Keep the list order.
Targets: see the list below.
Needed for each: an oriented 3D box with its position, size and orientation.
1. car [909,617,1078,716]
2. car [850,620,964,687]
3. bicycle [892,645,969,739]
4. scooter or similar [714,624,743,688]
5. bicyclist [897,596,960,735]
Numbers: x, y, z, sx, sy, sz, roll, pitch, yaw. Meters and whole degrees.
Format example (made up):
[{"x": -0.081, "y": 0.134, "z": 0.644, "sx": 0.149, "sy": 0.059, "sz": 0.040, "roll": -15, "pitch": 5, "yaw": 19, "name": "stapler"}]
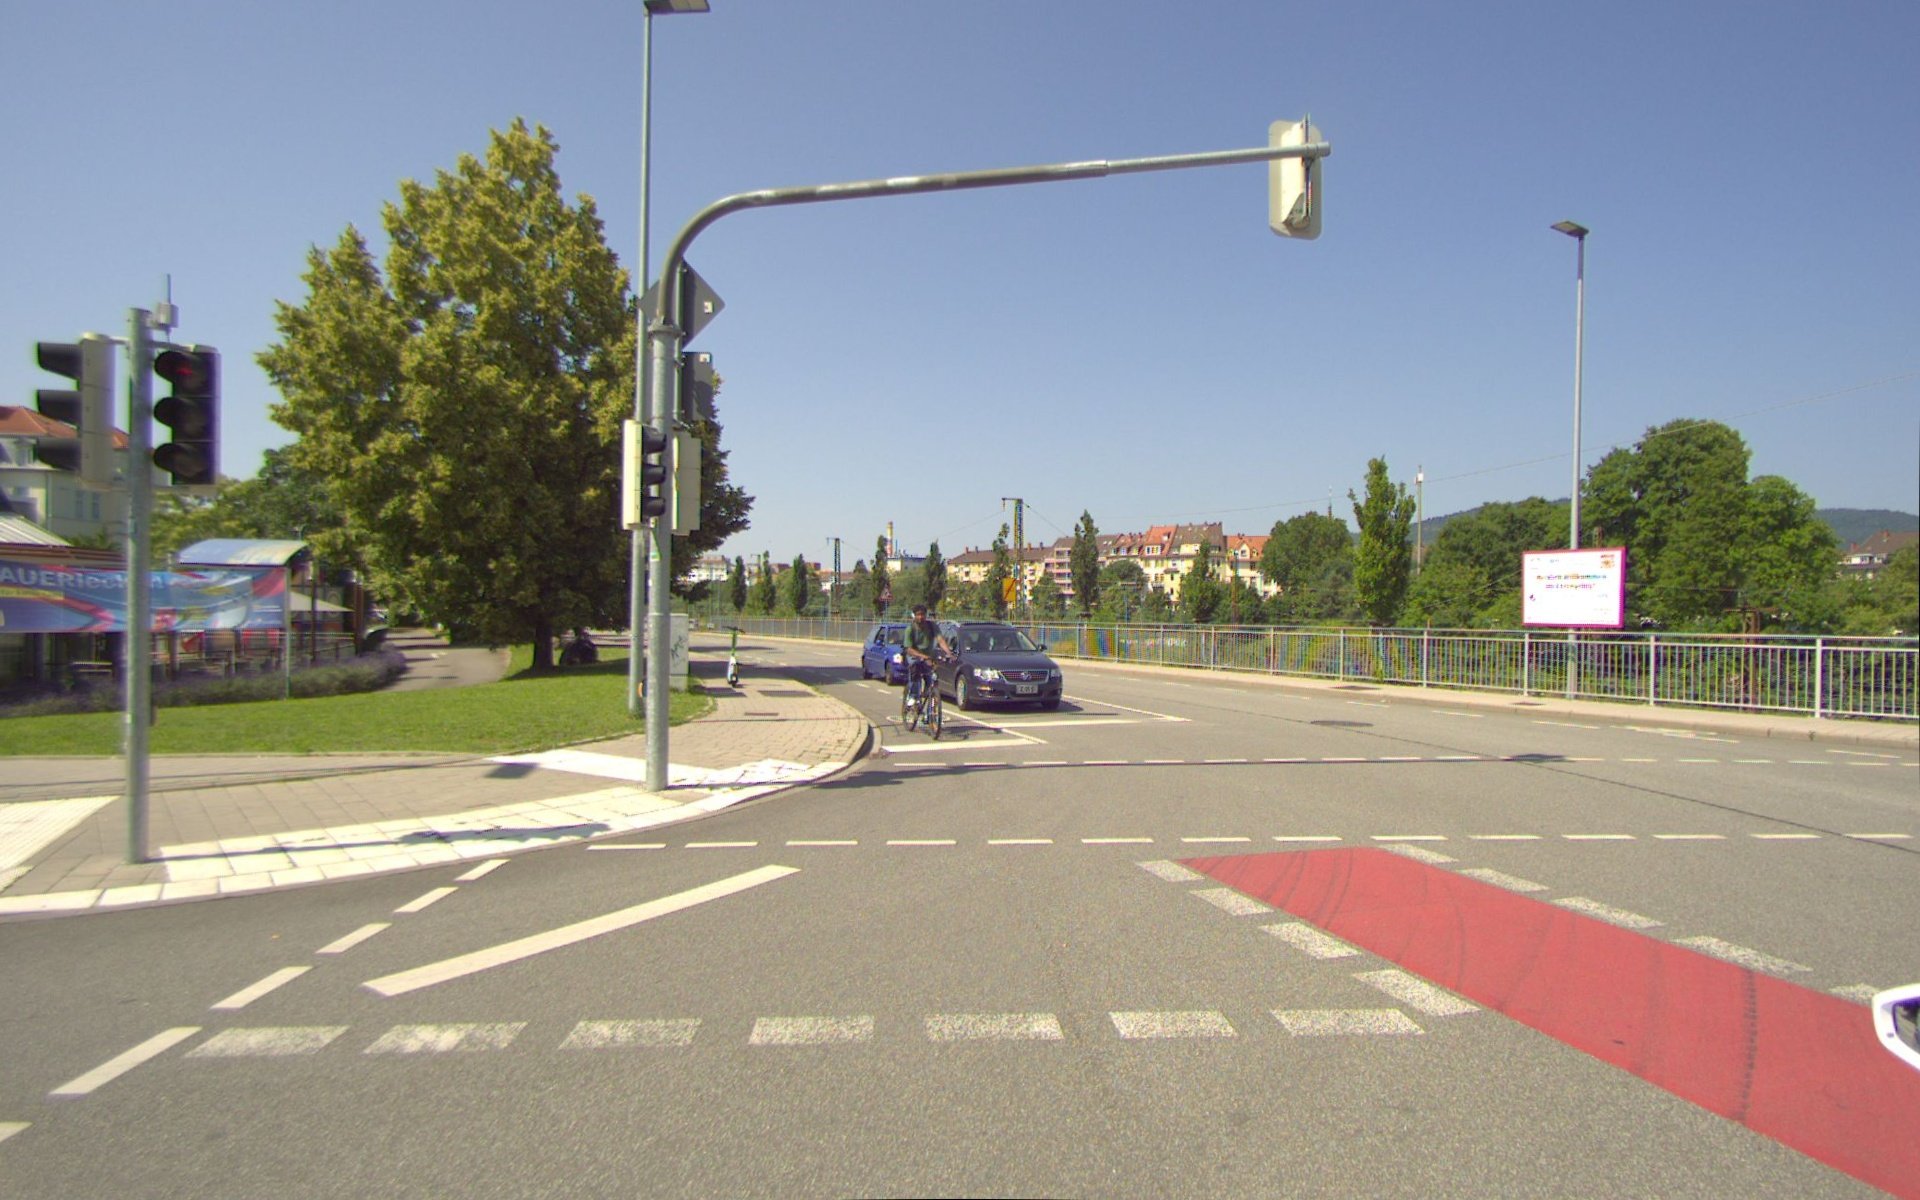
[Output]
[{"x": 0.447, "y": 1.098, "z": 18.511, "sx": 1.756, "sy": 1.516, "sz": 4.706, "roll": 0, "pitch": 0, "yaw": -16, "name": "car"}, {"x": -1.363, "y": 1.208, "z": 24.089, "sx": 1.636, "sy": 1.399, "sz": 3.981, "roll": 0, "pitch": 0, "yaw": -20, "name": "car"}, {"x": -0.433, "y": 1.199, "z": 13.560, "sx": 0.687, "sy": 1.119, "sz": 1.750, "roll": 0, "pitch": 0, "yaw": -14, "name": "bicycle"}, {"x": -4.546, "y": 1.083, "z": 19.770, "sx": 0.464, "sy": 1.200, "sz": 1.363, "roll": 0, "pitch": 0, "yaw": -9, "name": "scooter or similar"}, {"x": -0.433, "y": 0.859, "z": 13.584, "sx": 0.700, "sy": 1.813, "sz": 0.807, "roll": 0, "pitch": 0, "yaw": -14, "name": "bicyclist"}]
